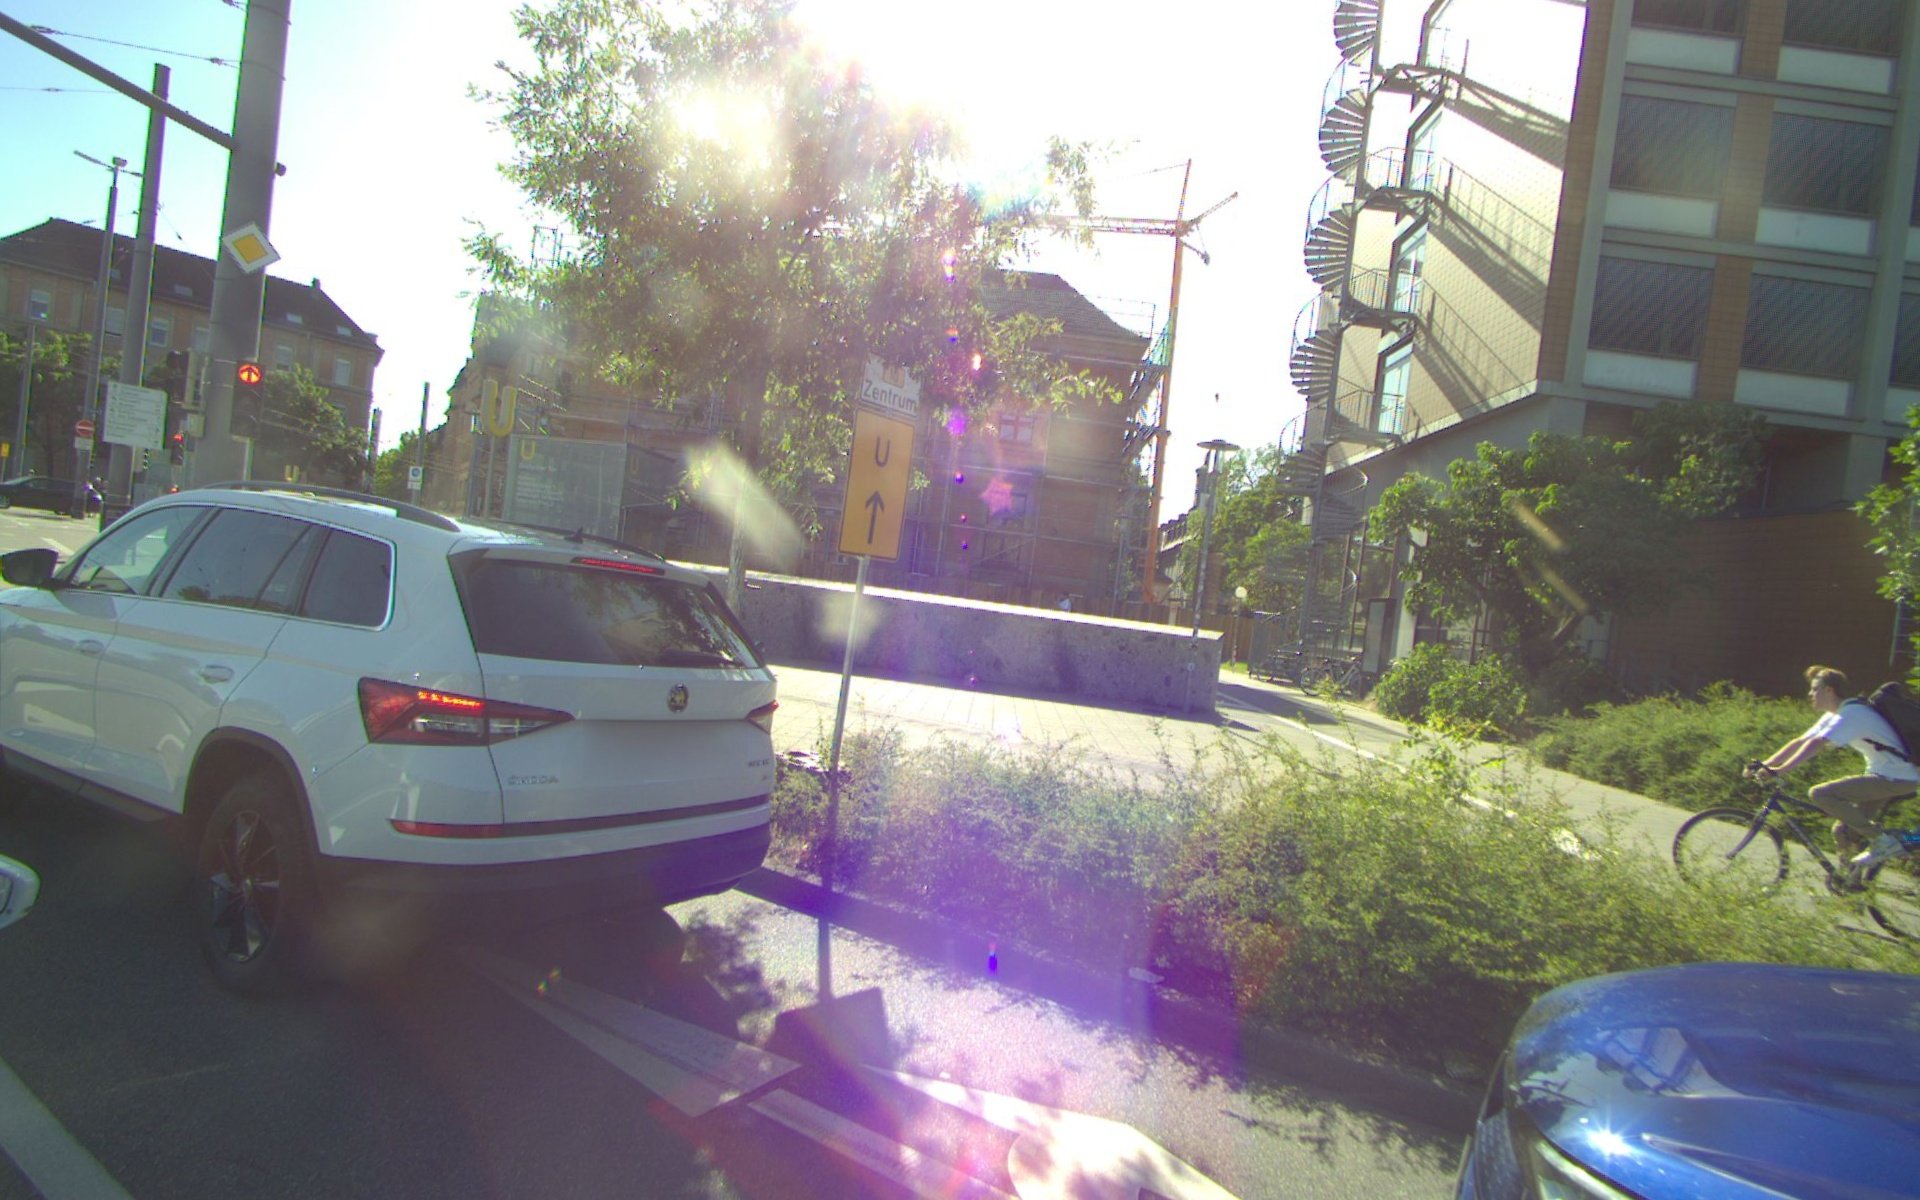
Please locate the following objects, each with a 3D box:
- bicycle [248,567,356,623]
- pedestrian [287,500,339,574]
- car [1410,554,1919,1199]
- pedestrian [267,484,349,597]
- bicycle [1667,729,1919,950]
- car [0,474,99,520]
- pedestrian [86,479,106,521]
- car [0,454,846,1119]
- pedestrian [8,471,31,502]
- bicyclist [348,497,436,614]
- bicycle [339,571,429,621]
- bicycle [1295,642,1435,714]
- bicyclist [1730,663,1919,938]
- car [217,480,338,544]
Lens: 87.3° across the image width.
[{"bbox_3d":[-10.048,-0.083,15.356,1.694,0.664,0.537,7,3,25],"label":"bicycle"},{"bbox_3d":[-17.735,-1.713,27.595,0.887,1.883,0.922,7,1,-23],"label":"pedestrian"},{"bbox_3d":[2.621,1.041,0.810,4.016,1.625,1.703,7,0,31],"label":"car"},{"bbox_3d":[-9.934,-0.903,15.336,0.843,1.582,0.549,7,1,24],"label":"pedestrian"},{"bbox_3d":[5.803,1.573,6.626,1.711,1.139,0.572,7,0,30],"label":"bicycle"},{"bbox_3d":[-41.927,-4.724,45.404,1.675,1.521,4.260,7,0,27],"label":"car"},{"bbox_3d":[-43.933,-5.067,51.165,0.443,2.039,0.462,7,1,15],"label":"pedestrian"},{"bbox_3d":[-2.783,0.383,4.468,4.225,1.662,1.697,7,0,31],"label":"car"},{"bbox_3d":[-49.868,-6.007,53.339,0.540,1.536,0.704,7,1,-16],"label":"pedestrian"},{"bbox_3d":[-9.440,-0.733,16.721,0.907,1.802,0.748,7,2,25],"label":"bicyclist"},{"bbox_3d":[-9.627,-0.069,16.798,1.441,0.664,0.538,7,2,25],"label":"bicycle"},{"bbox_3d":[10.332,1.969,25.765,3.079,1.394,0.798,7,1,9],"label":"bicycle"},{"bbox_3d":[5.813,1.273,6.638,0.931,1.588,0.572,7,1,30],"label":"bicyclist"},{"bbox_3d":[-38.620,-4.914,57.138,2.103,2.778,5.926,7,0,6],"label":"car"}]
